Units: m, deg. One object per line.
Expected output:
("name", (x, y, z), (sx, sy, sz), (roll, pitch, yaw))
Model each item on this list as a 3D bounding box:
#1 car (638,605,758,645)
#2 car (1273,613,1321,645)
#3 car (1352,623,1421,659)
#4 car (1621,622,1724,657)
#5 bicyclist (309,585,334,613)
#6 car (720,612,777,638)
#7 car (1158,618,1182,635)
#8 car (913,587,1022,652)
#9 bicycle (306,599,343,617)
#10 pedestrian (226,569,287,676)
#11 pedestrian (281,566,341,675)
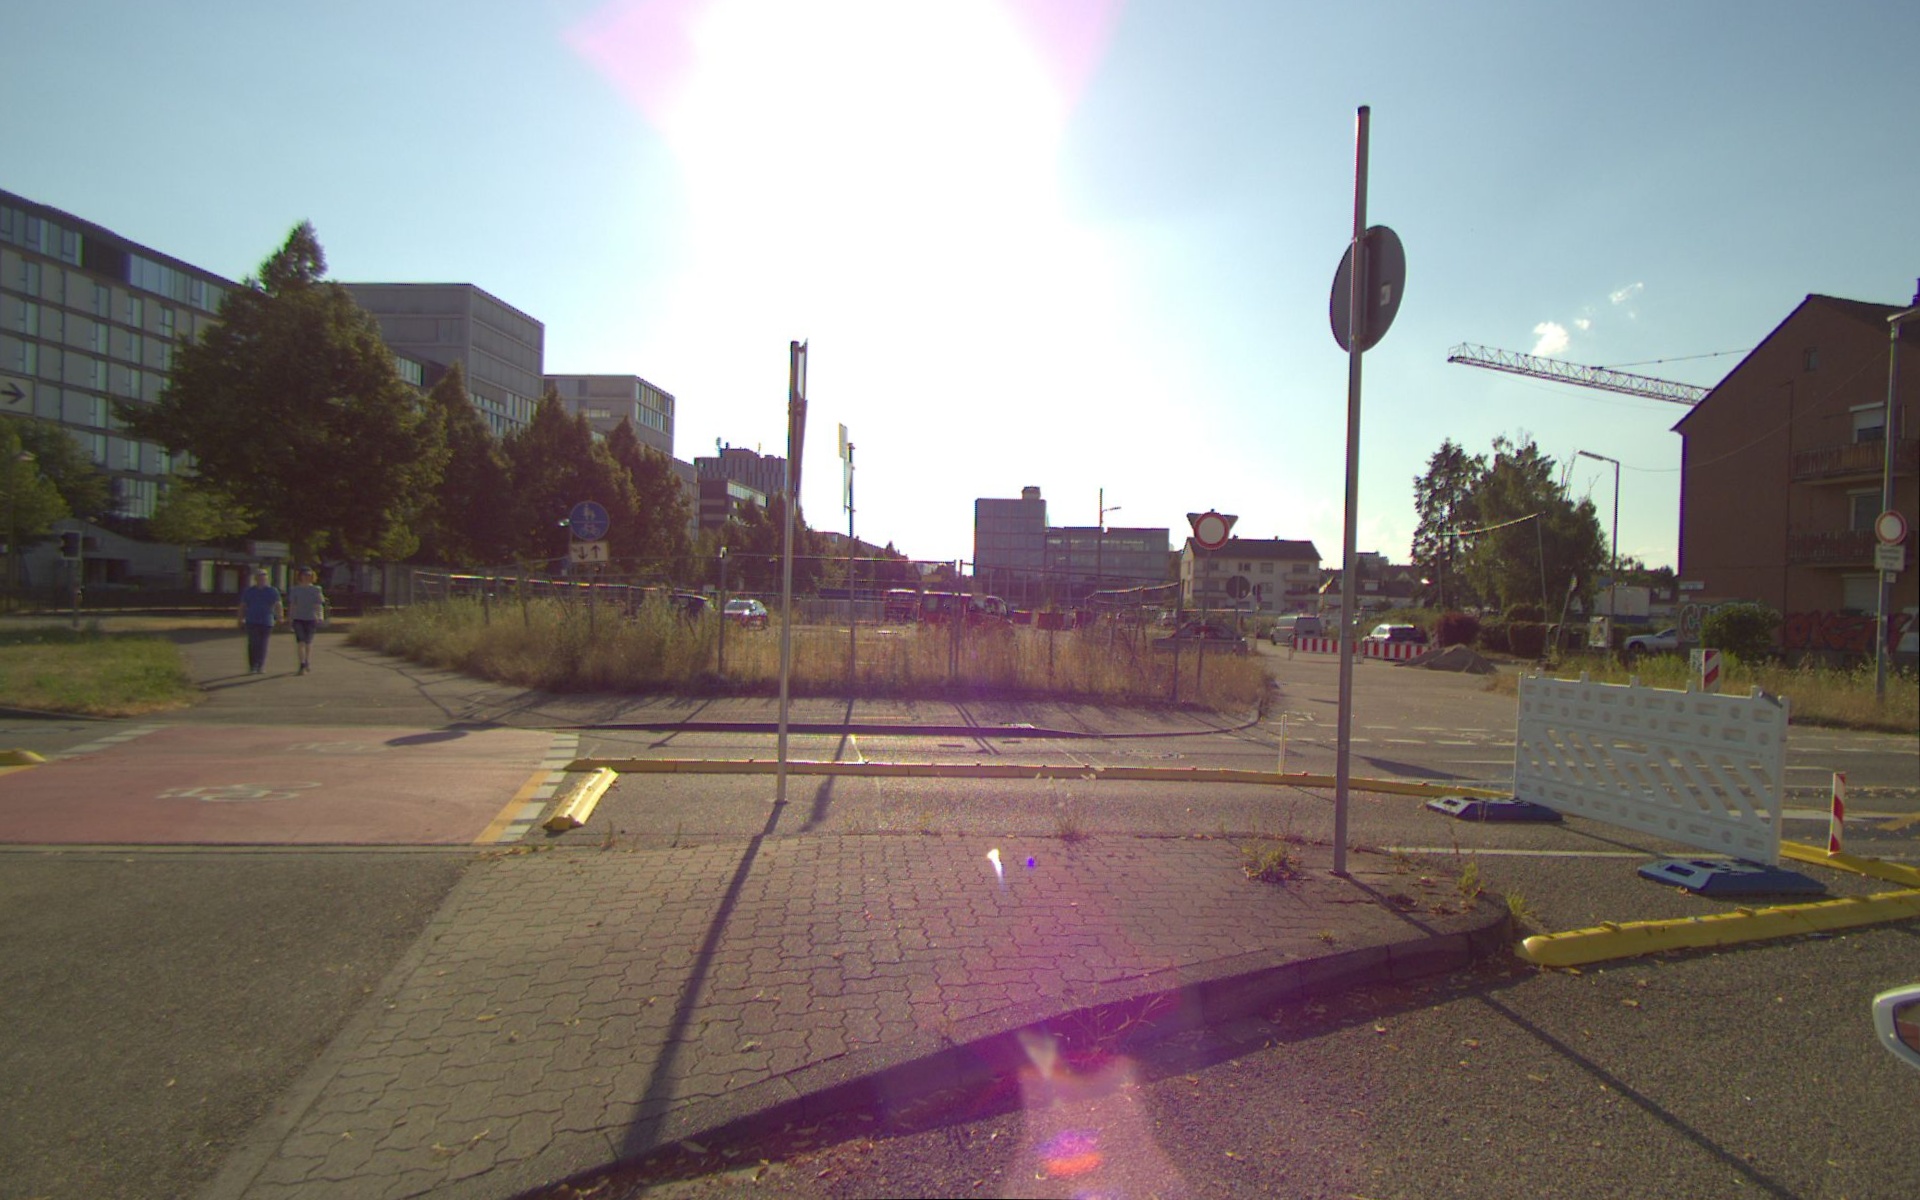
("car", (-9.708, 0.925, 37.570), (4.170, 1.381, 1.996), (2, 0, -12))
("car", (21.703, 1.843, 64.881), (1.831, 1.973, 4.001), (2, 0, 2))
("car", (20.757, 1.979, 49.060), (1.960, 1.572, 4.002), (2, 0, 6))
("car", (35.902, 1.965, 50.660), (3.945, 1.550, 1.988), (1, -1, 44))
("bicyclist", (-33.509, -0.038, 52.753), (0.853, 1.428, 0.628), (3, 0, -2))
("car", (-10.287, 1.213, 49.078), (1.304, 1.181, 3.938), (2, 0, 10))
("car", (24.132, 3.012, 115.537), (2.110, 1.862, 4.363), (2, 0, 3))
("car", (0.370, 0.672, 34.935), (1.961, 2.040, 5.312), (1, 0, 22))
("bicycle", (-33.512, 0.412, 52.982), (0.834, 0.941, 1.718), (2, 0, -2))
("pedestrian", (-11.774, 0.366, 16.807), (0.779, 1.731, 0.804), (2, 0, -36))
("pedestrian", (-11.063, 0.350, 17.124), (0.753, 1.799, 0.763), (2, 0, -39))
